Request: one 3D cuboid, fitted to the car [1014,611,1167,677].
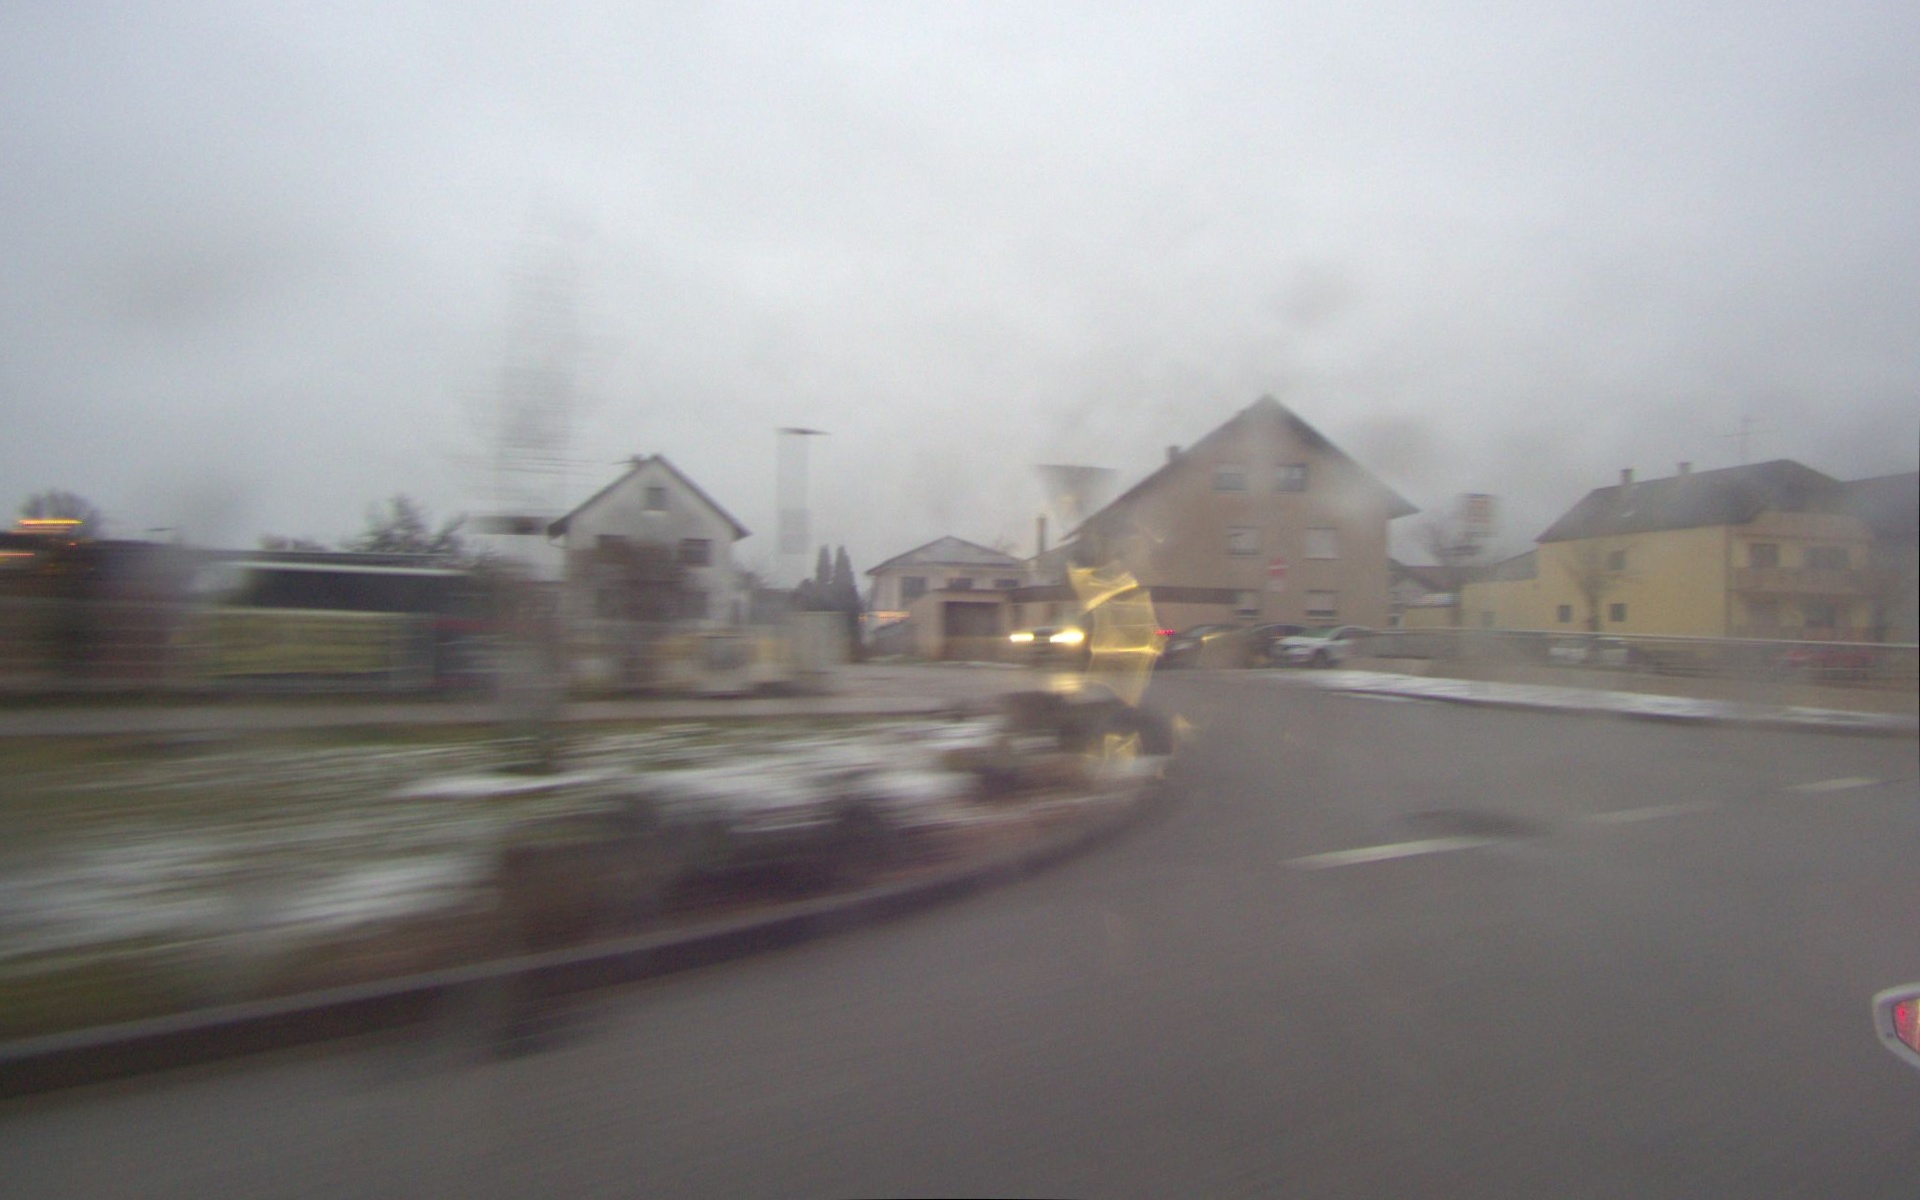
[{"bbox_3d":[3.281,1.025,24.601,1.374,1.457,4.308,1,0,45],"label":"car"}]

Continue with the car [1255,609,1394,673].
[{"bbox_3d":[12.452,1.376,34.343,4.160,2.040,1.990,1,0,-21],"label":"car"}]

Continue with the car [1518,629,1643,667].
[{"bbox_3d":[24.069,1.856,39.009,4.048,1.325,1.992,2,0,-18],"label":"car"}]

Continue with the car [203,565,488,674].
[{"bbox_3d":[-10.437,0.318,17.272,3.958,1.673,1.982,1,0,-33],"label":"car"}]

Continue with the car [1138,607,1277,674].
[{"bbox_3d":[7.937,1.283,32.222,3.941,2.040,1.914,1,0,-21],"label":"car"}]

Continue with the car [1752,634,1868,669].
[{"bbox_3d":[36.515,2.208,43.161,4.048,1.325,1.992,2,0,-18],"label":"car"}]

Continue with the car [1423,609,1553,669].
[{"bbox_3d":[19.353,1.422,36.853,3.937,2.040,1.992,2,0,-18],"label":"car"}]
